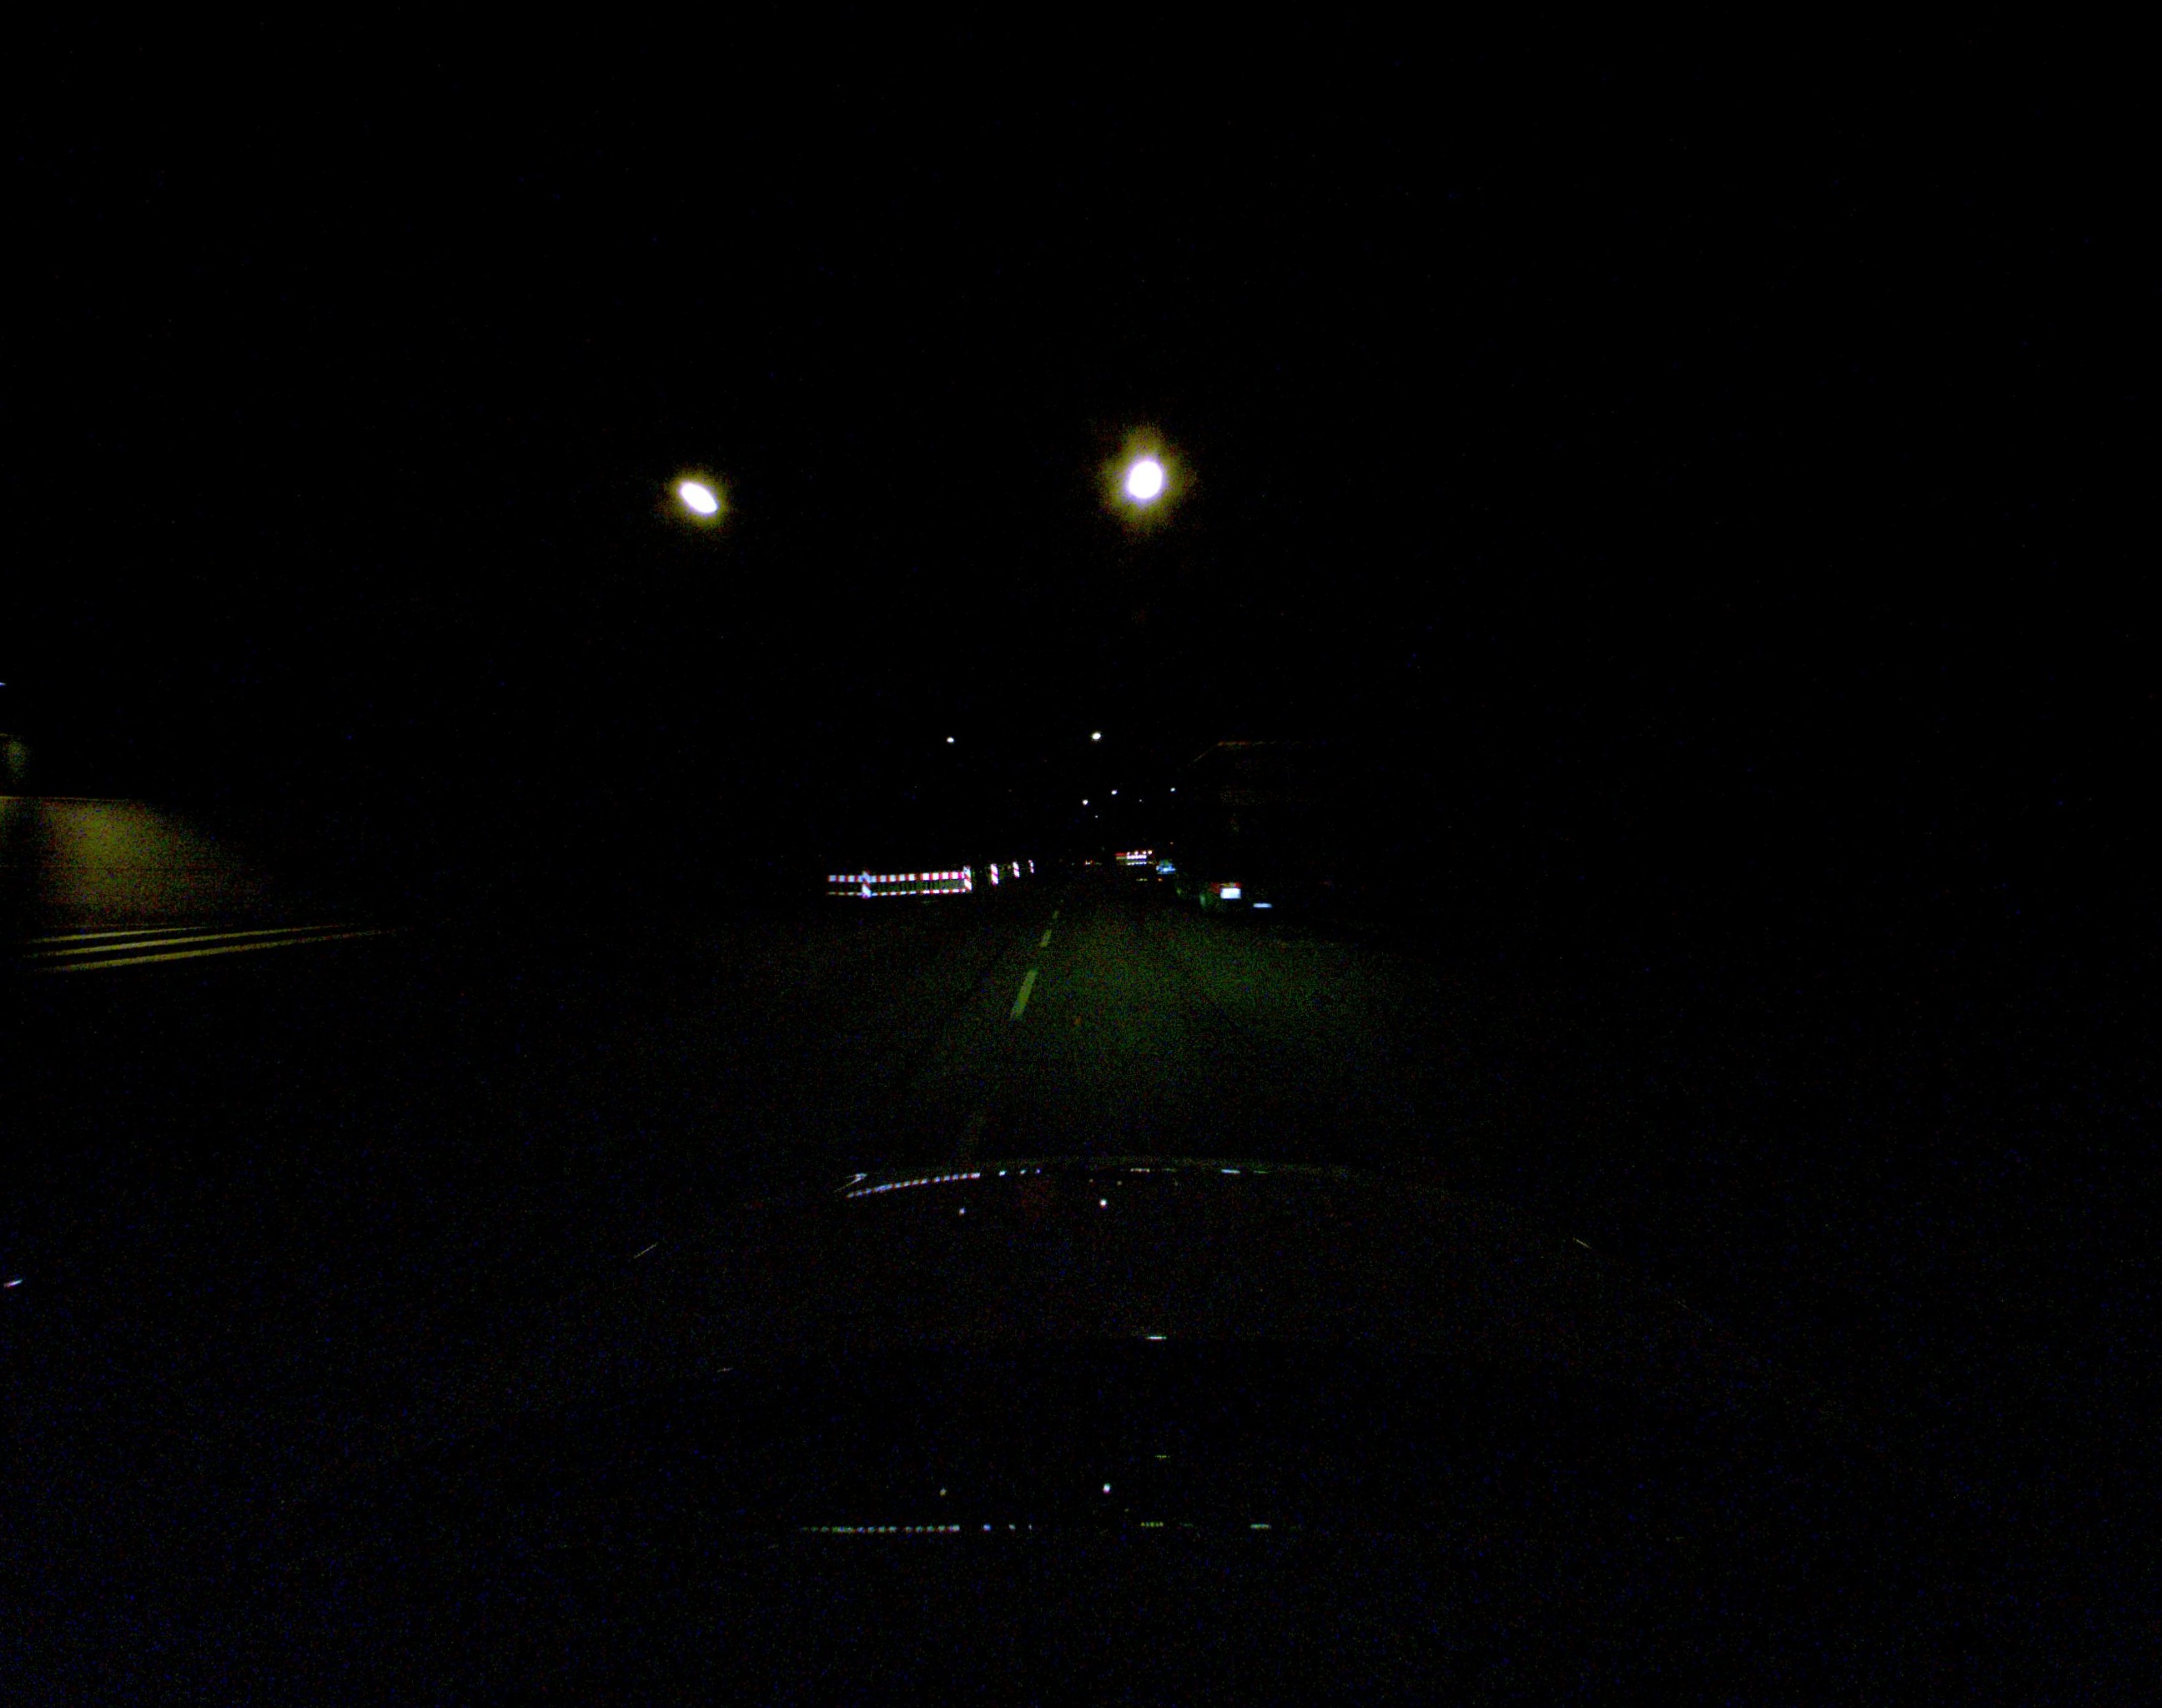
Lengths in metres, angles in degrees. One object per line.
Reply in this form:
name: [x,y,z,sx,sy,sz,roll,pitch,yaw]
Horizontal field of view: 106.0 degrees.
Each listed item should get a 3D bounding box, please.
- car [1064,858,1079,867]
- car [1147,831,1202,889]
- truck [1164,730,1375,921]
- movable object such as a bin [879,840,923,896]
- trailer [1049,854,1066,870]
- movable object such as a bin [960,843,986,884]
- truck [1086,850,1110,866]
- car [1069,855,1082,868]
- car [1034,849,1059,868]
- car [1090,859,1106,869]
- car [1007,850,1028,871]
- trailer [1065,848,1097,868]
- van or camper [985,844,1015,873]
car: [-1.928,1.732,166.234,1.979,1.699,4.223,-2,-1,15]
car: [4.370,0.229,38.936,2.100,2.516,6.375,-1,0,2]
truck: [4.356,-0.571,21.441,3.314,3.868,9.325,-1,0,0]
movable object such as a bin: [-8.622,0.672,38.912,1.554,2.467,2.819,-3,-1,-21]
trailer: [-4.493,1.524,155.297,1.979,2.813,4.721,-2,0,15]
movable object such as a bin: [-7.612,0.644,57.692,1.569,2.733,3.692,-5,1,-7]
truck: [3.844,0.946,183.334,1.976,3.404,9.030,-1,0,24]
car: [-0.733,1.045,113.572,1.715,1.661,3.999,-1,-1,0]
car: [-6.251,0.823,148.702,2.501,3.171,7.164,-4,-1,13]
car: [2.961,1.745,141.967,1.708,1.821,4.016,-2,-1,15]
car: [-9.396,0.986,120.805,2.512,2.927,7.196,-4,-1,-1]
trailer: [-0.014,0.537,98.672,1.568,2.160,5.174,-3,-1,-27]
van or camper: [-9.454,0.571,95.622,2.510,3.094,7.446,-4,-1,1]
